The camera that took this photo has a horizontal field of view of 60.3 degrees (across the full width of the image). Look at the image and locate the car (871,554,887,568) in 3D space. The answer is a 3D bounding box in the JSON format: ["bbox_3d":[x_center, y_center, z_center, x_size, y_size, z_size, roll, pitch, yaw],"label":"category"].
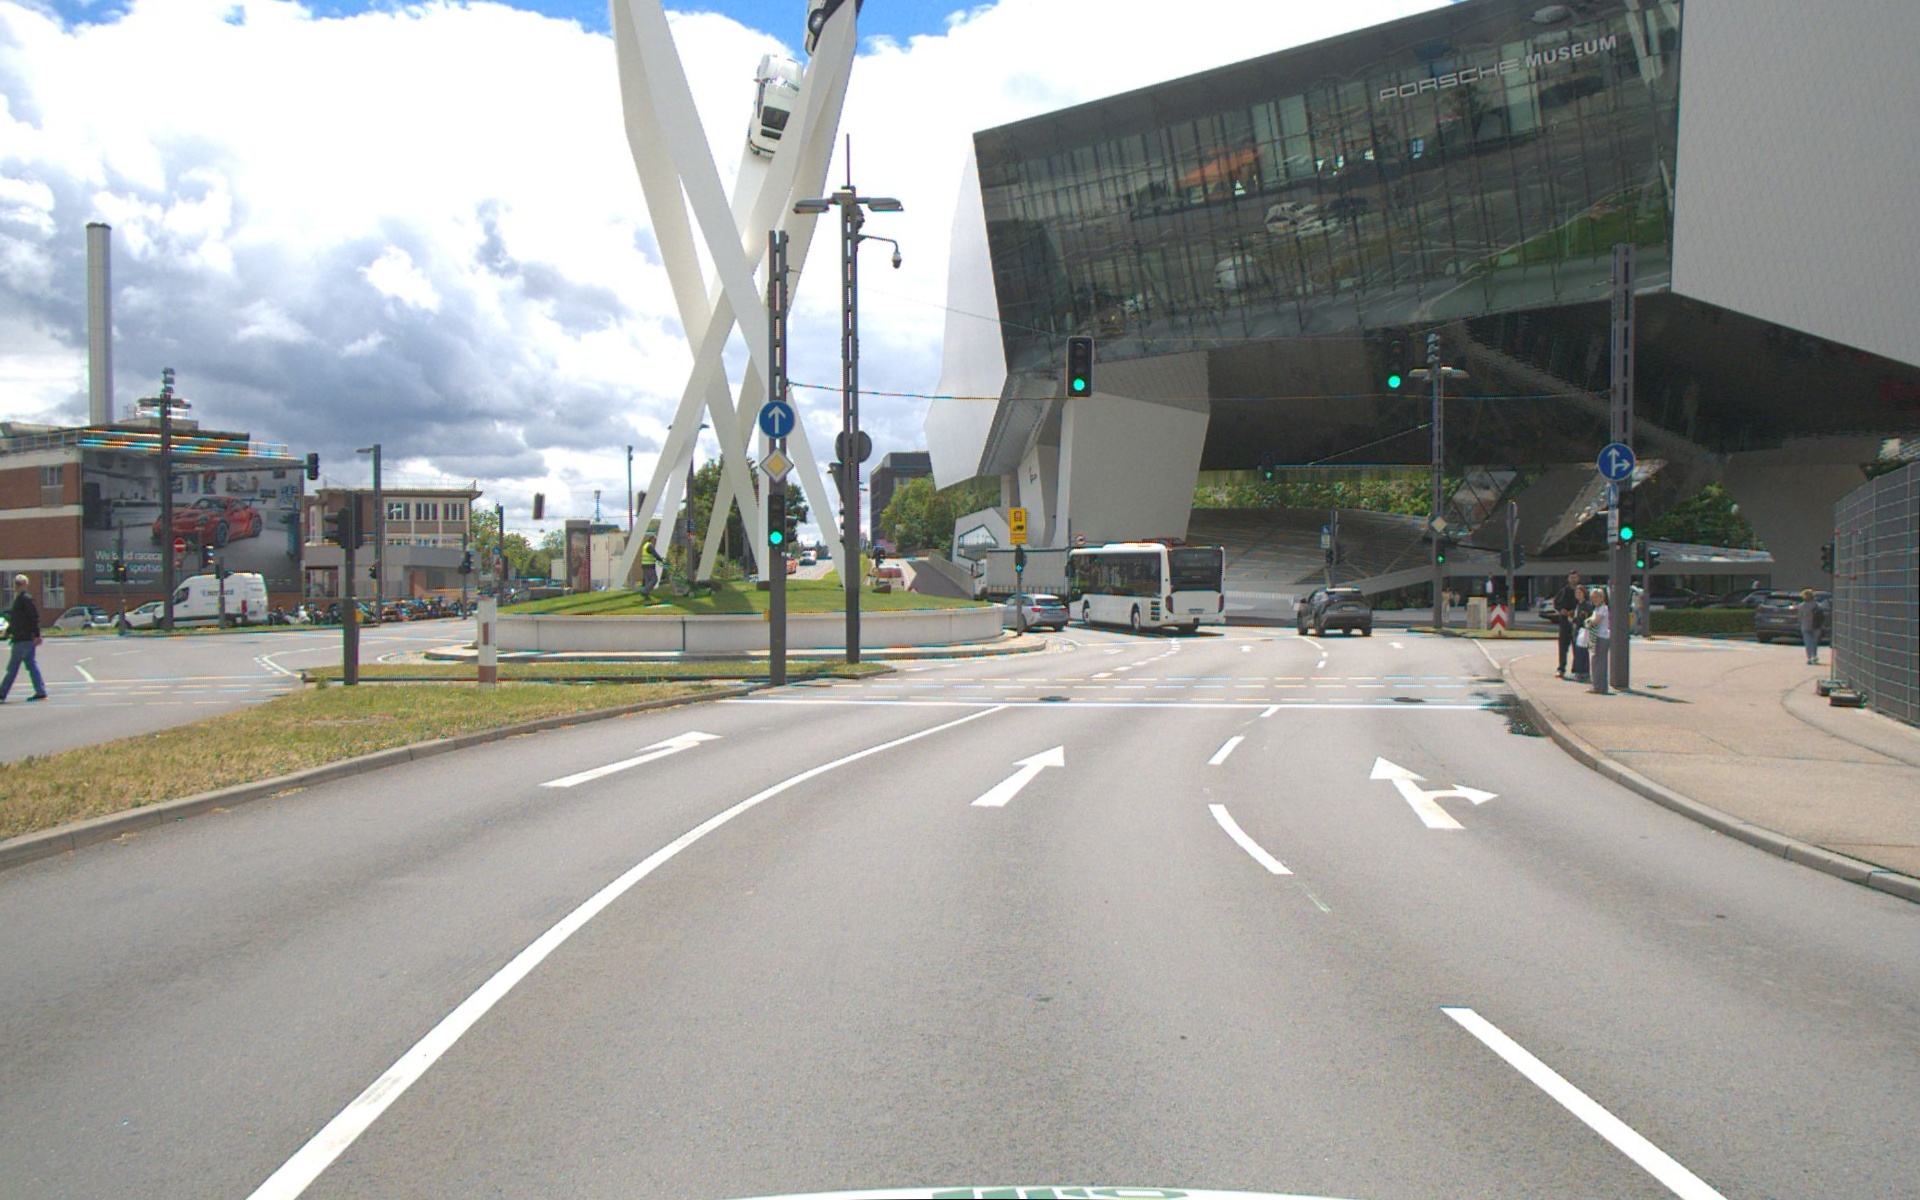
[{"bbox_3d":[-10.302,-4.998,210.595,1.953,1.664,4.655,1,2,-1],"label":"car"}]

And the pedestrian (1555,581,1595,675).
[{"bbox_3d":[10.847,0.493,29.174,0.454,1.644,0.663,1,-1,0],"label":"pedestrian"}]

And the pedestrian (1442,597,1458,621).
[{"bbox_3d":[27.290,0.515,92.105,0.688,1.341,0.634,2,-1,-45],"label":"pedestrian"}]

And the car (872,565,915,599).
[{"bbox_3d":[-4.087,-1.091,101.066,1.958,1.937,3.989,1,-1,-11],"label":"car"}]

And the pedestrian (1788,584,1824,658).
[{"bbox_3d":[18.853,0.474,36.860,0.680,1.614,0.919,0,-1,29],"label":"pedestrian"}]

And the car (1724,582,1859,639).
[{"bbox_3d":[27.055,0.354,53.813,3.938,1.732,1.983,1,-1,-26],"label":"car"}]

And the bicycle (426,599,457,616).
[{"bbox_3d":[-28.335,0.394,90.333,0.483,0.881,1.603,0,2,39],"label":"bicycle"}]

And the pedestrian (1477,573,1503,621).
[{"bbox_3d":[22.756,-0.156,71.053,0.933,2.019,1.383,1,2,13],"label":"pedestrian"}]

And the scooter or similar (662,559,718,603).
[{"bbox_3d":[-7.426,-0.535,45.457,1.381,1.042,0.546,-6,8,-22],"label":"scooter or similar"}]

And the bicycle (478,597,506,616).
[{"bbox_3d":[-25.285,0.347,89.334,0.481,0.881,1.610,1,4,25],"label":"bicycle"}]

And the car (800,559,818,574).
[{"bbox_3d":[-16.959,-3.780,185.696,1.719,1.422,4.674,1,3,-2],"label":"car"}]

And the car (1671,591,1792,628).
[{"bbox_3d":[31.211,0.387,66.973,4.065,1.407,1.836,1,1,-6],"label":"car"}]

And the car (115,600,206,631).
[{"bbox_3d":[-41.253,0.780,85.390,3.903,1.527,2.001,1,-1,17],"label":"car"}]

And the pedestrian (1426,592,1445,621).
[{"bbox_3d":[26.664,0.381,92.805,0.687,1.600,0.784,2,-1,-41],"label":"pedestrian"}]

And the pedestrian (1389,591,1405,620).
[{"bbox_3d":[24.517,0.336,92.765,0.810,1.600,0.923,1,-1,20],"label":"pedestrian"}]

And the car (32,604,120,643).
[{"bbox_3d":[-37.695,0.992,70.488,3.926,1.604,1.989,0,-1,41],"label":"car"}]

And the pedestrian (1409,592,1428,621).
[{"bbox_3d":[25.603,0.358,92.333,0.902,1.600,0.830,1,-1,24],"label":"pedestrian"}]

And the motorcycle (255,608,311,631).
[{"bbox_3d":[-37.306,1.082,91.165,2.842,1.217,0.921,1,-1,16],"label":"motorcycle"}]

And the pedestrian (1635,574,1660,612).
[{"bbox_3d":[34.568,-0.357,83.182,0.813,1.858,0.921,1,-1,-12],"label":"pedestrian"}]

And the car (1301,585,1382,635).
[{"bbox_3d":[13.082,0.335,56.949,1.952,1.665,4.001,0,0,2],"label":"car"}]

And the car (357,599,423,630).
[{"bbox_3d":[-34.674,0.884,100.662,3.398,1.835,1.705,1,-1,13],"label":"car"}]

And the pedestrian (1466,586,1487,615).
[{"bbox_3d":[29.158,0.034,93.379,0.813,1.600,0.921,1,-1,-12],"label":"pedestrian"}]

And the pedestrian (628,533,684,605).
[{"bbox_3d":[-8.296,-0.849,45.066,1.263,1.847,0.981,-4,4,-19],"label":"pedestrian"}]

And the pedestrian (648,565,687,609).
[{"bbox_3d":[-10.022,-0.438,56.711,0.835,1.431,0.965,-6,-3,19],"label":"pedestrian"}]

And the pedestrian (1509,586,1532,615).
[{"bbox_3d":[31.006,0.046,91.510,0.813,1.600,0.921,1,-1,-12],"label":"pedestrian"}]

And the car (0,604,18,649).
[{"bbox_3d":[-40.392,1.054,68.052,1.898,1.828,3.713,2,-1,-45],"label":"car"}]

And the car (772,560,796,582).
[{"bbox_3d":[-16.729,-2.746,157.143,1.954,2.018,4.834,-1,1,-3],"label":"car"}]

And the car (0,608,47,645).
[{"bbox_3d":[-50.913,1.355,87.534,4.410,1.890,2.209,1,-1,22],"label":"car"}]

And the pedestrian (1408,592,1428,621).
[{"bbox_3d":[25.880,0.374,93.501,0.903,1.600,0.829,1,-1,28],"label":"pedestrian"}]

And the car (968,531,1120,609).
[{"bbox_3d":[4.023,-1.404,81.837,3.297,3.565,9.257,1,-1,-27],"label":"car"}]

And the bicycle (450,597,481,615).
[{"bbox_3d":[-26.240,0.298,87.752,0.483,0.881,1.604,0,2,37],"label":"bicycle"}]

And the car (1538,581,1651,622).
[{"bbox_3d":[25.823,0.080,67.419,3.903,1.577,1.839,-1,-1,3],"label":"car"}]

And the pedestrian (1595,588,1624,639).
[{"bbox_3d":[21.357,0.436,54.406,0.663,1.667,0.614,1,-1,-30],"label":"pedestrian"}]

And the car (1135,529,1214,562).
[{"bbox_3d":[13.028,-3.340,100.692,4.439,1.418,1.987,10,11,43],"label":"car"}]

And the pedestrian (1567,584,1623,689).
[{"bbox_3d":[10.087,0.572,26.302,0.645,1.636,0.823,1,-1,8],"label":"pedestrian"}]

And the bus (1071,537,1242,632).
[{"bbox_3d":[7.614,-0.515,66.486,3.018,3.421,12.184,1,-1,-12],"label":"bus"}]

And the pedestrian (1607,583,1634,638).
[{"bbox_3d":[21.922,0.355,54.884,0.661,1.826,0.616,0,-1,44],"label":"pedestrian"}]

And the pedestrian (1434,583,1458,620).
[{"bbox_3d":[20.201,0.058,68.701,0.576,1.522,0.762,1,-1,-35],"label":"pedestrian"}]

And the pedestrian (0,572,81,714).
[{"bbox_3d":[-14.089,0.639,25.042,0.932,2.091,0.951,1,-1,16],"label":"pedestrian"}]

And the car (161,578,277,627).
[{"bbox_3d":[-34.855,0.140,77.840,4.541,2.209,2.001,1,-1,8],"label":"car"}]

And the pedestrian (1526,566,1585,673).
[{"bbox_3d":[10.751,0.344,29.859,0.649,1.899,0.790,1,-1,-17],"label":"pedestrian"}]

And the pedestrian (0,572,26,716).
[{"bbox_3d":[-14.360,0.632,24.035,0.932,2.091,0.951,1,-1,16],"label":"pedestrian"}]

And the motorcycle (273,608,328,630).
[{"bbox_3d":[-36.772,1.054,92.251,2.842,1.217,0.921,1,-1,16],"label":"motorcycle"}]

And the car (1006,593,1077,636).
[{"bbox_3d":[3.262,0.573,66.974,1.958,1.665,3.988,1,-1,-12],"label":"car"}]

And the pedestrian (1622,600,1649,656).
[{"bbox_3d":[22.755,0.933,55.716,0.661,1.879,0.616,0,-1,42],"label":"pedestrian"}]

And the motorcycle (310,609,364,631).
[{"bbox_3d":[-35.707,1.142,94.815,2.842,1.217,0.921,1,-1,16],"label":"motorcycle"}]

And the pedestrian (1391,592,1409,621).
[{"bbox_3d":[24.957,0.361,93.854,0.811,1.600,0.923,1,-1,24],"label":"pedestrian"}]
